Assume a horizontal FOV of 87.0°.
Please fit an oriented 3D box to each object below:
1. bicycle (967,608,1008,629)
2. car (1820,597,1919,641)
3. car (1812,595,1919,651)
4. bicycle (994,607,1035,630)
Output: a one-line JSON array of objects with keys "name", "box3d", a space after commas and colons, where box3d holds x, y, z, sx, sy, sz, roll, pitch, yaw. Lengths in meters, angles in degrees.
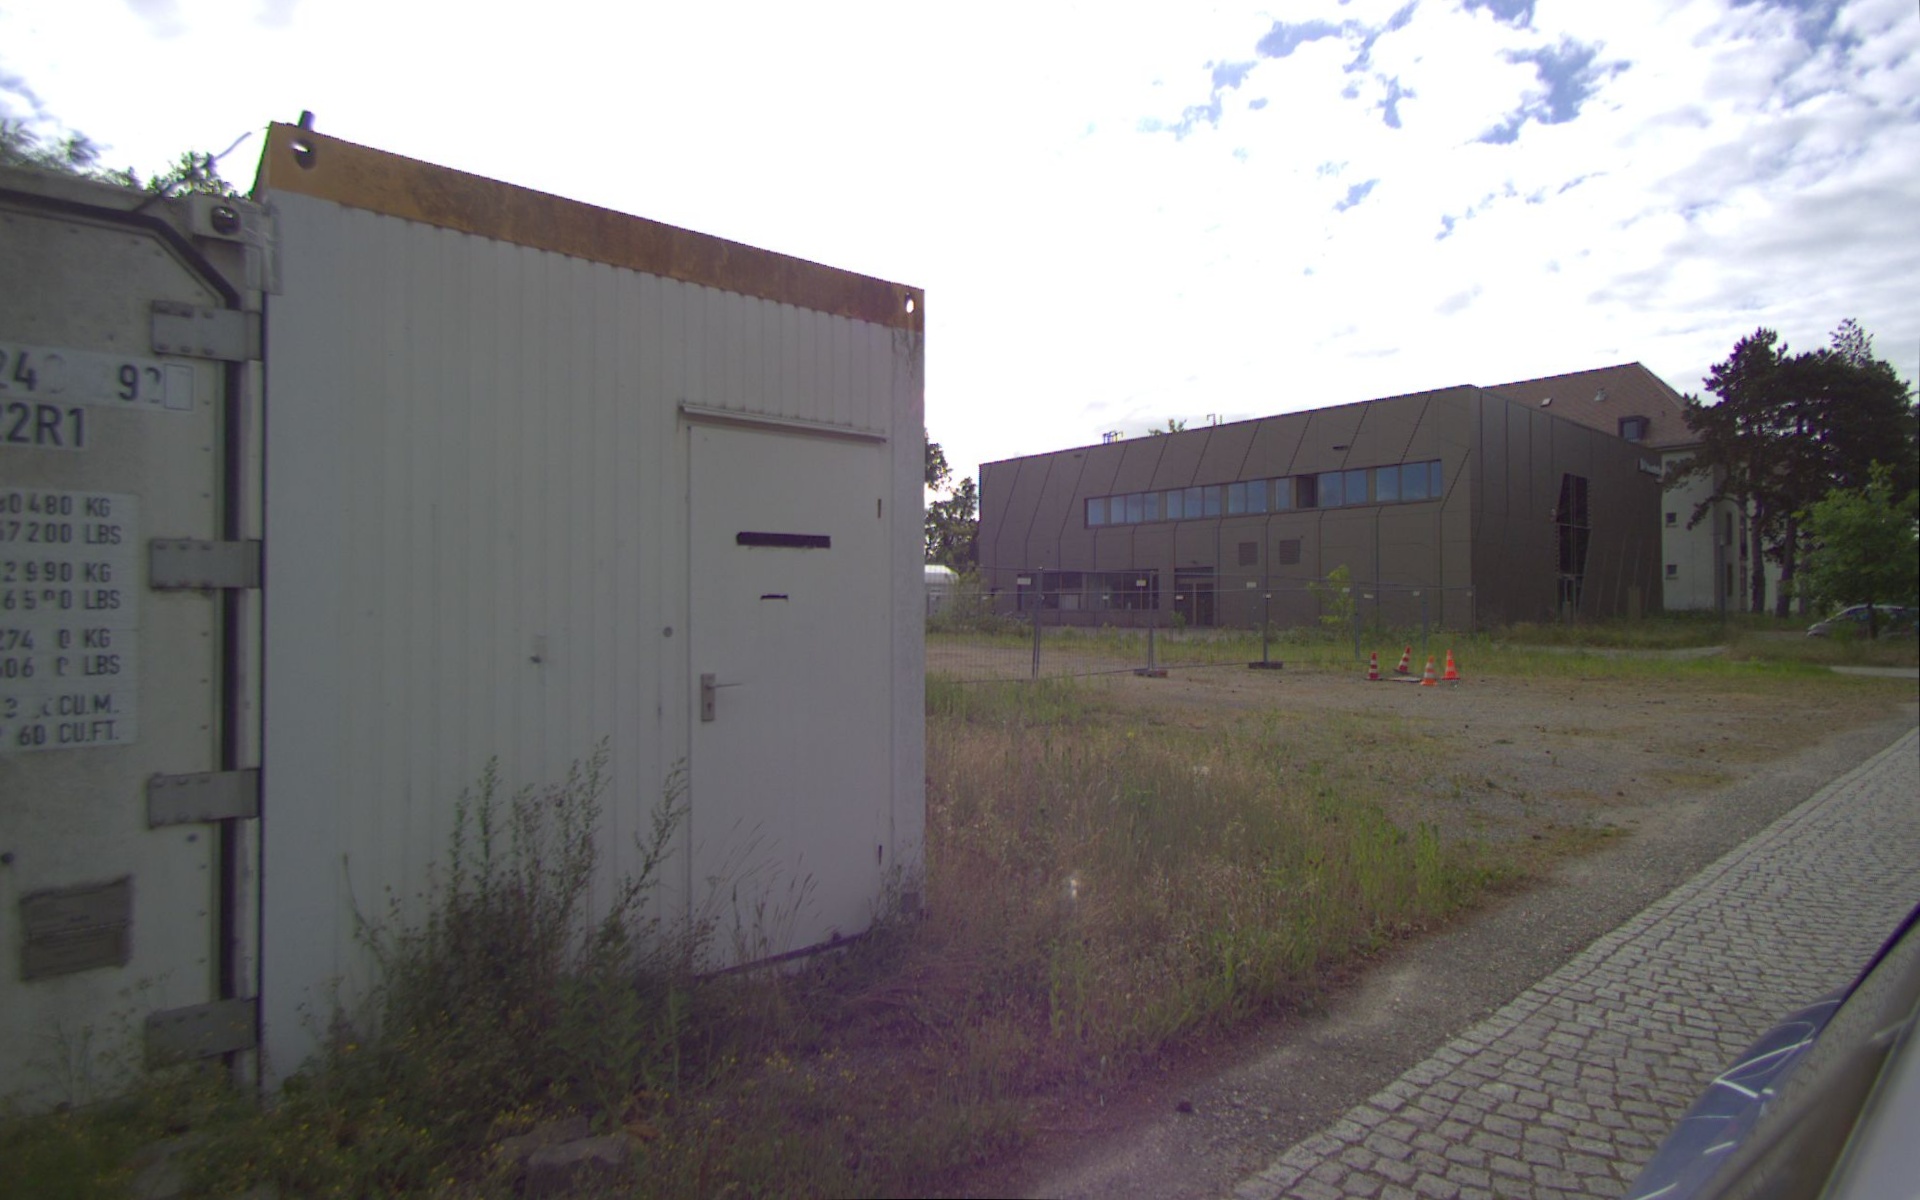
[{"name": "bicycle", "box3d": [1.385, 0.916, 50.657, 1.953, 1.038, 0.835, -1, 0, -39]}, {"name": "car", "box3d": [34.194, 0.695, 36.586, 1.899, 1.468, 4.531, 0, 2, -42]}, {"name": "car", "box3d": [28.756, 0.690, 31.848, 1.653, 1.602, 2.747, 0, 2, -40]}, {"name": "bicycle", "box3d": [2.639, 0.891, 48.946, 1.953, 1.038, 0.835, -1, 0, -39]}]
